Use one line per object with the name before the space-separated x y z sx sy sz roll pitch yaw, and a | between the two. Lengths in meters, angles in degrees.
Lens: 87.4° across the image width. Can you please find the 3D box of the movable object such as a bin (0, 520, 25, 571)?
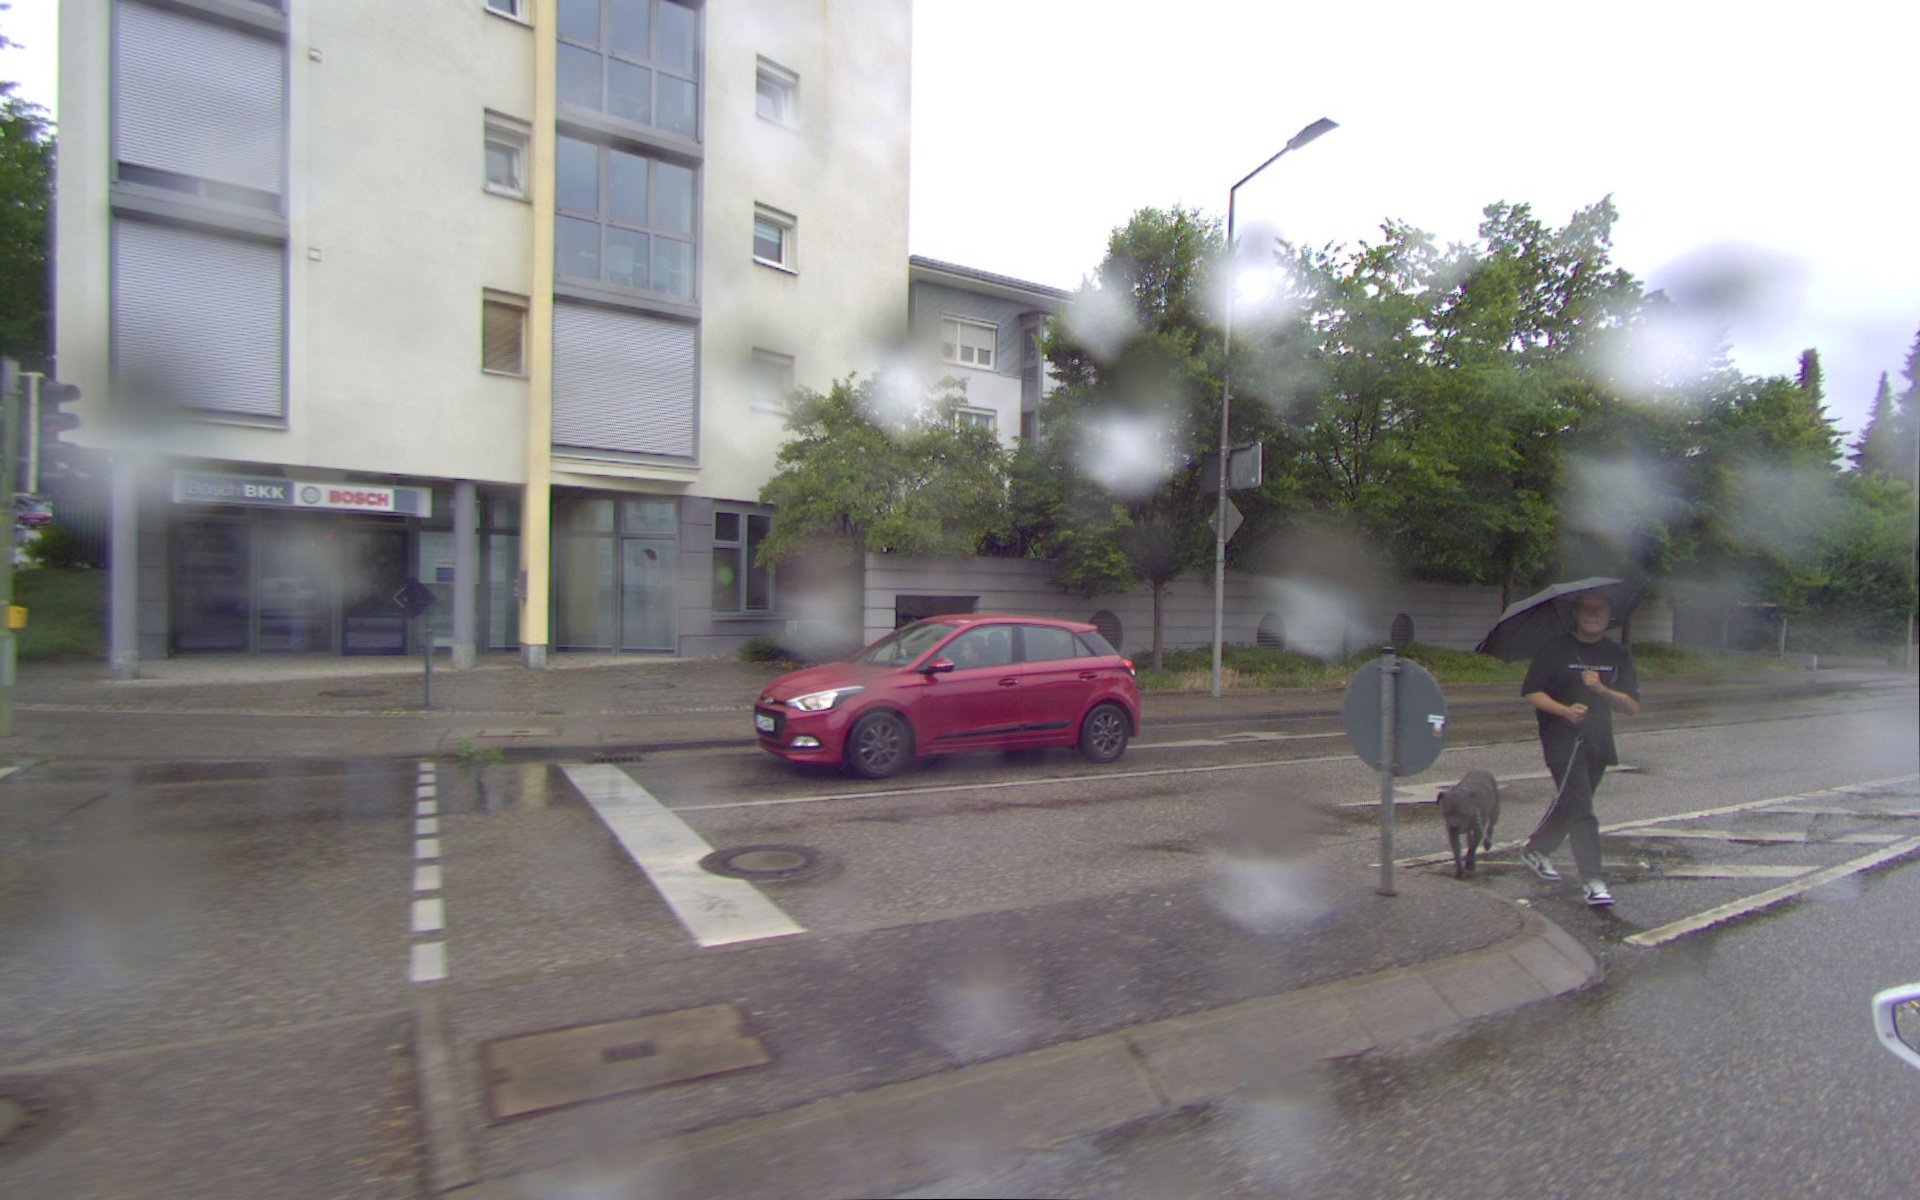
movable object such as a bin | -25.540 -1.431 26.413 1.044 1.315 1.191 -4 5 -30

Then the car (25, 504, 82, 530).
car | -58.642 -5.347 65.026 1.827 1.544 3.969 2 3 -29

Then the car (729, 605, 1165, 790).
car | -0.077 0.882 10.098 4.055 1.526 1.767 2 -2 -29

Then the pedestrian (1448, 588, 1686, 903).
pedestrian | 3.550 0.813 5.920 0.930 1.725 0.667 2 1 -12
